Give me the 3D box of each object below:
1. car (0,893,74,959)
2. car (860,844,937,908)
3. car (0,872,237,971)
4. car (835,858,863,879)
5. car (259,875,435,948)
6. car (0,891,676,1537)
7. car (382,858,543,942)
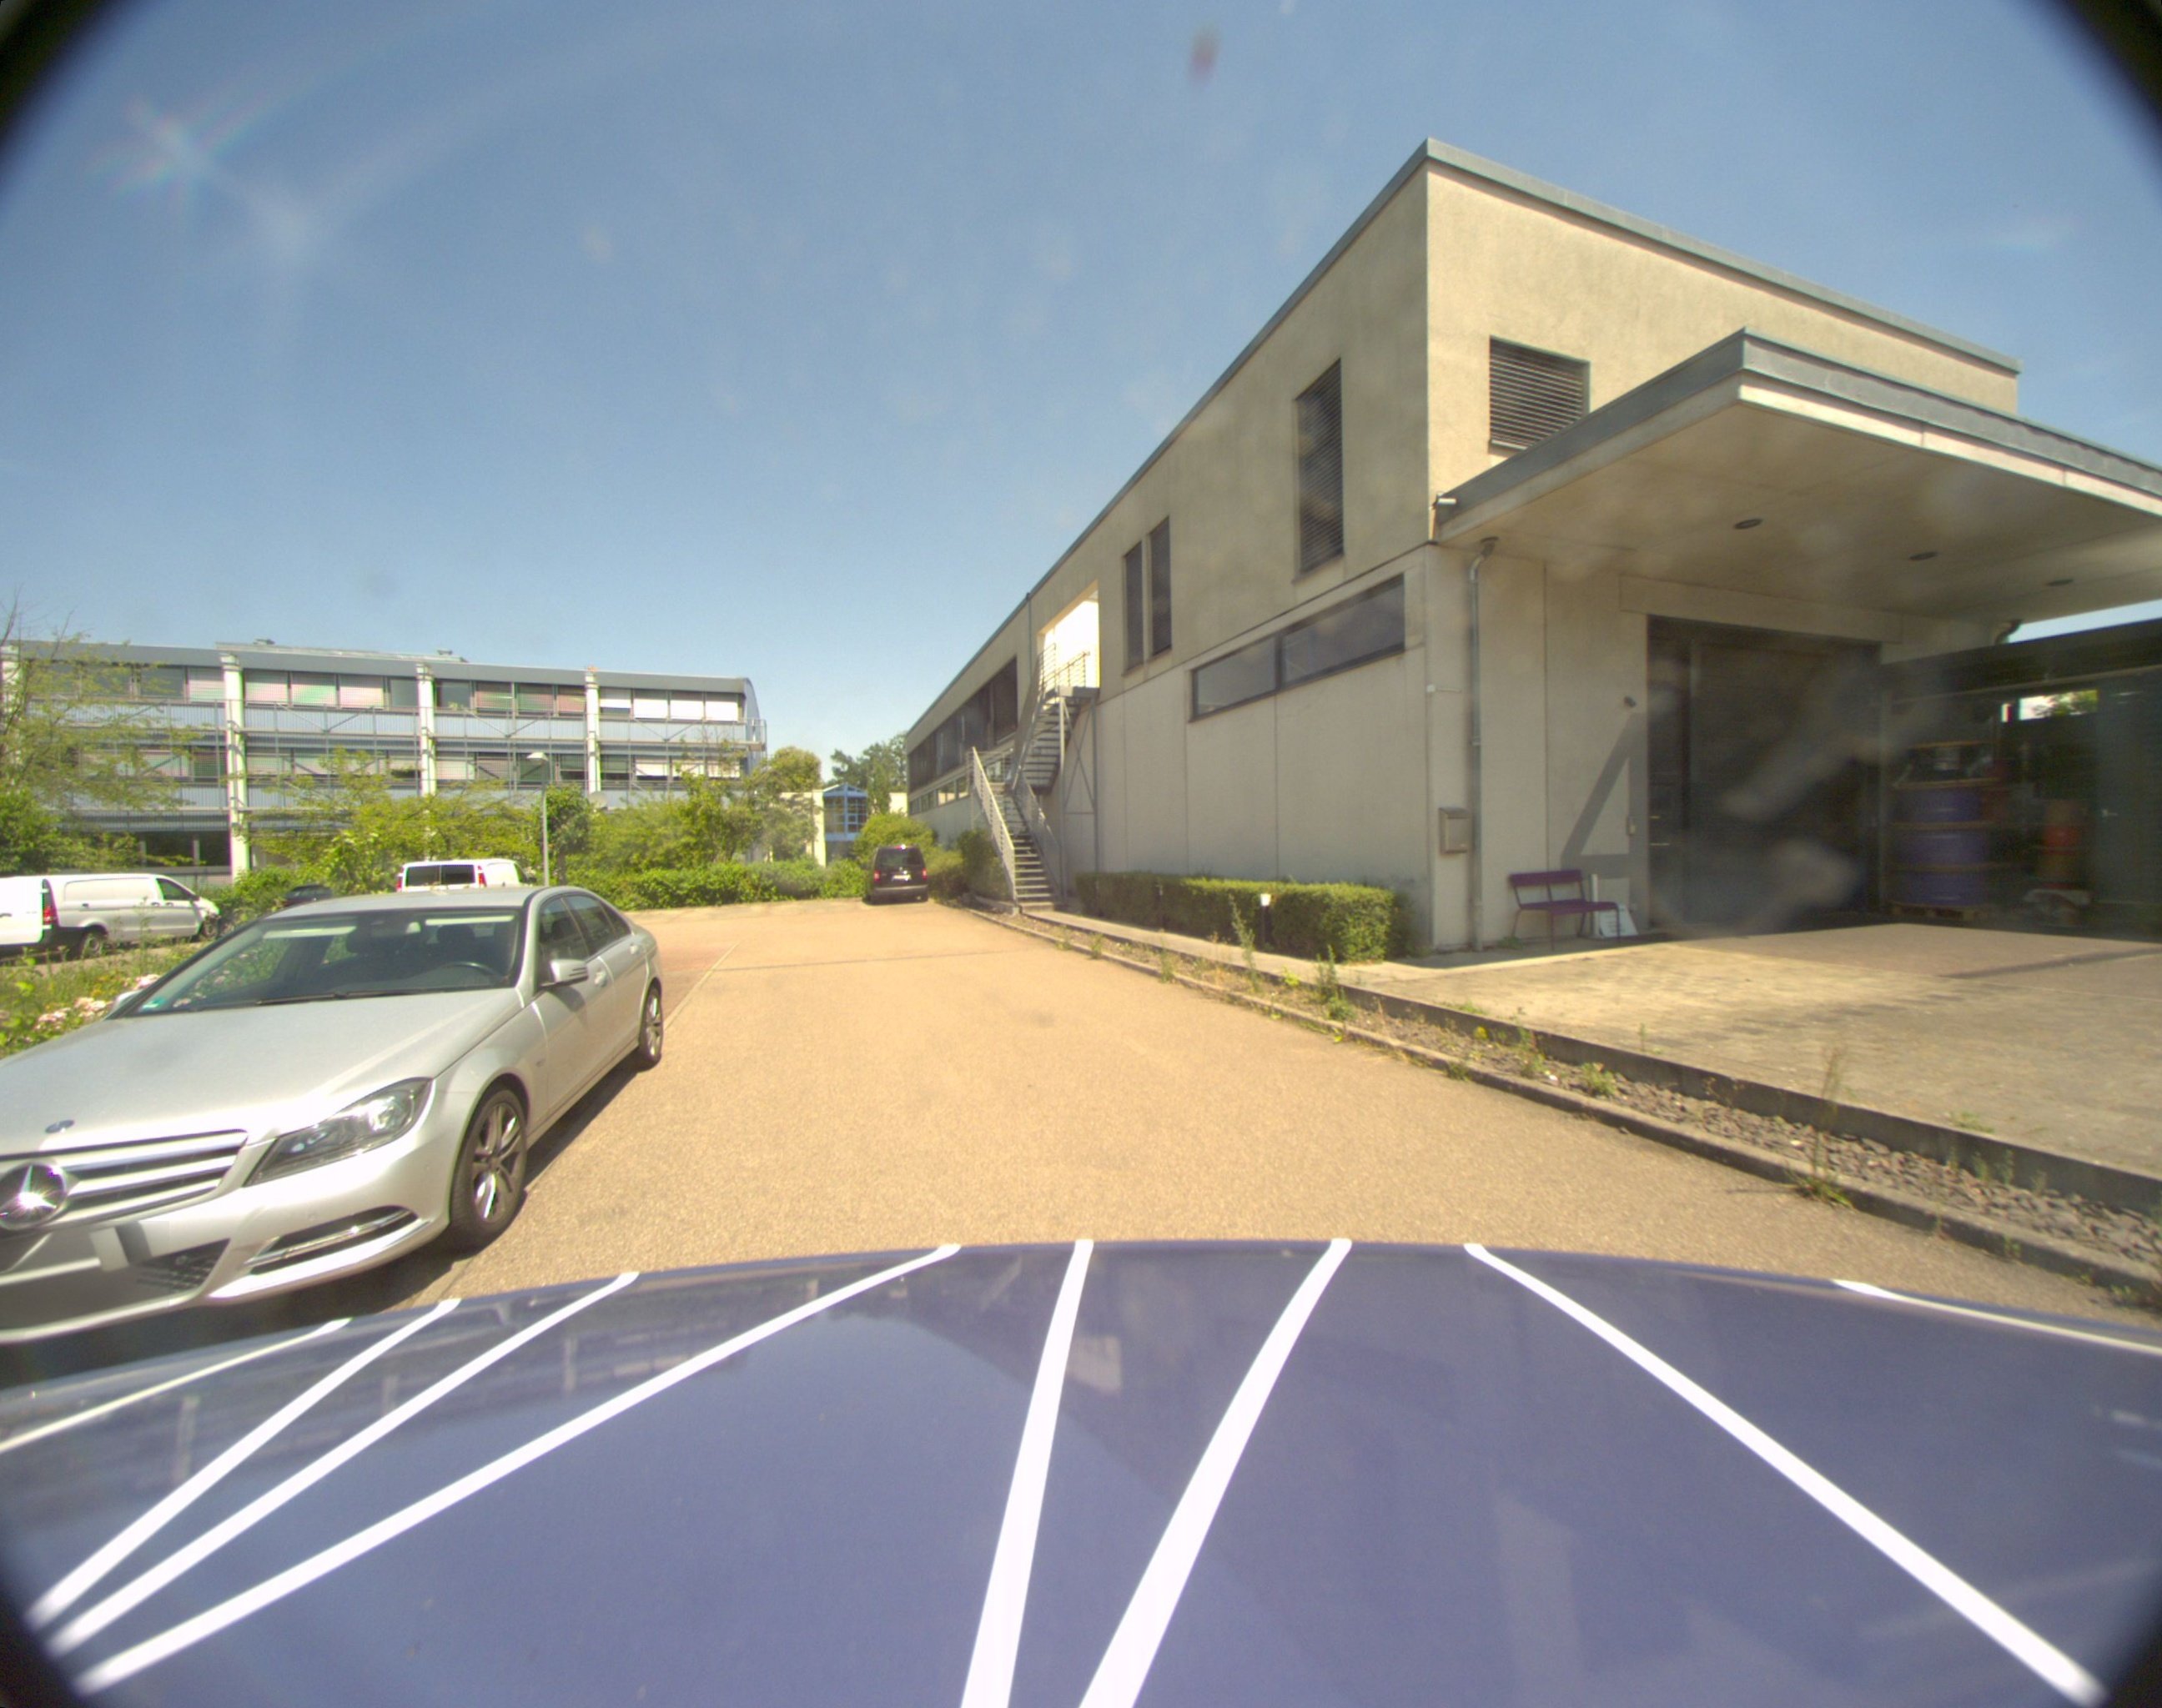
[{"bbox_3d":[-26.579,1.813,17.767,1.626,1.479,3.914,-3,2,-18],"label":"car"},{"bbox_3d":[-6.123,0.637,25.117,1.870,1.849,4.221,-3,1,-21],"label":"car"},{"bbox_3d":[-23.101,1.478,18.011,1.858,1.845,4.926,-3,2,-18],"label":"car"},{"bbox_3d":[-19.997,1.222,65.470,1.839,1.558,3.991,-3,2,-23],"label":"car"},{"bbox_3d":[-19.096,1.403,20.034,1.741,1.475,4.190,-3,1,-21],"label":"car"},{"bbox_3d":[-3.641,1.050,3.974,1.806,1.390,4.412,-2,1,-17],"label":"car"},{"bbox_3d":[-16.332,1.094,20.390,1.870,1.849,4.668,-3,1,-21],"label":"car"}]
